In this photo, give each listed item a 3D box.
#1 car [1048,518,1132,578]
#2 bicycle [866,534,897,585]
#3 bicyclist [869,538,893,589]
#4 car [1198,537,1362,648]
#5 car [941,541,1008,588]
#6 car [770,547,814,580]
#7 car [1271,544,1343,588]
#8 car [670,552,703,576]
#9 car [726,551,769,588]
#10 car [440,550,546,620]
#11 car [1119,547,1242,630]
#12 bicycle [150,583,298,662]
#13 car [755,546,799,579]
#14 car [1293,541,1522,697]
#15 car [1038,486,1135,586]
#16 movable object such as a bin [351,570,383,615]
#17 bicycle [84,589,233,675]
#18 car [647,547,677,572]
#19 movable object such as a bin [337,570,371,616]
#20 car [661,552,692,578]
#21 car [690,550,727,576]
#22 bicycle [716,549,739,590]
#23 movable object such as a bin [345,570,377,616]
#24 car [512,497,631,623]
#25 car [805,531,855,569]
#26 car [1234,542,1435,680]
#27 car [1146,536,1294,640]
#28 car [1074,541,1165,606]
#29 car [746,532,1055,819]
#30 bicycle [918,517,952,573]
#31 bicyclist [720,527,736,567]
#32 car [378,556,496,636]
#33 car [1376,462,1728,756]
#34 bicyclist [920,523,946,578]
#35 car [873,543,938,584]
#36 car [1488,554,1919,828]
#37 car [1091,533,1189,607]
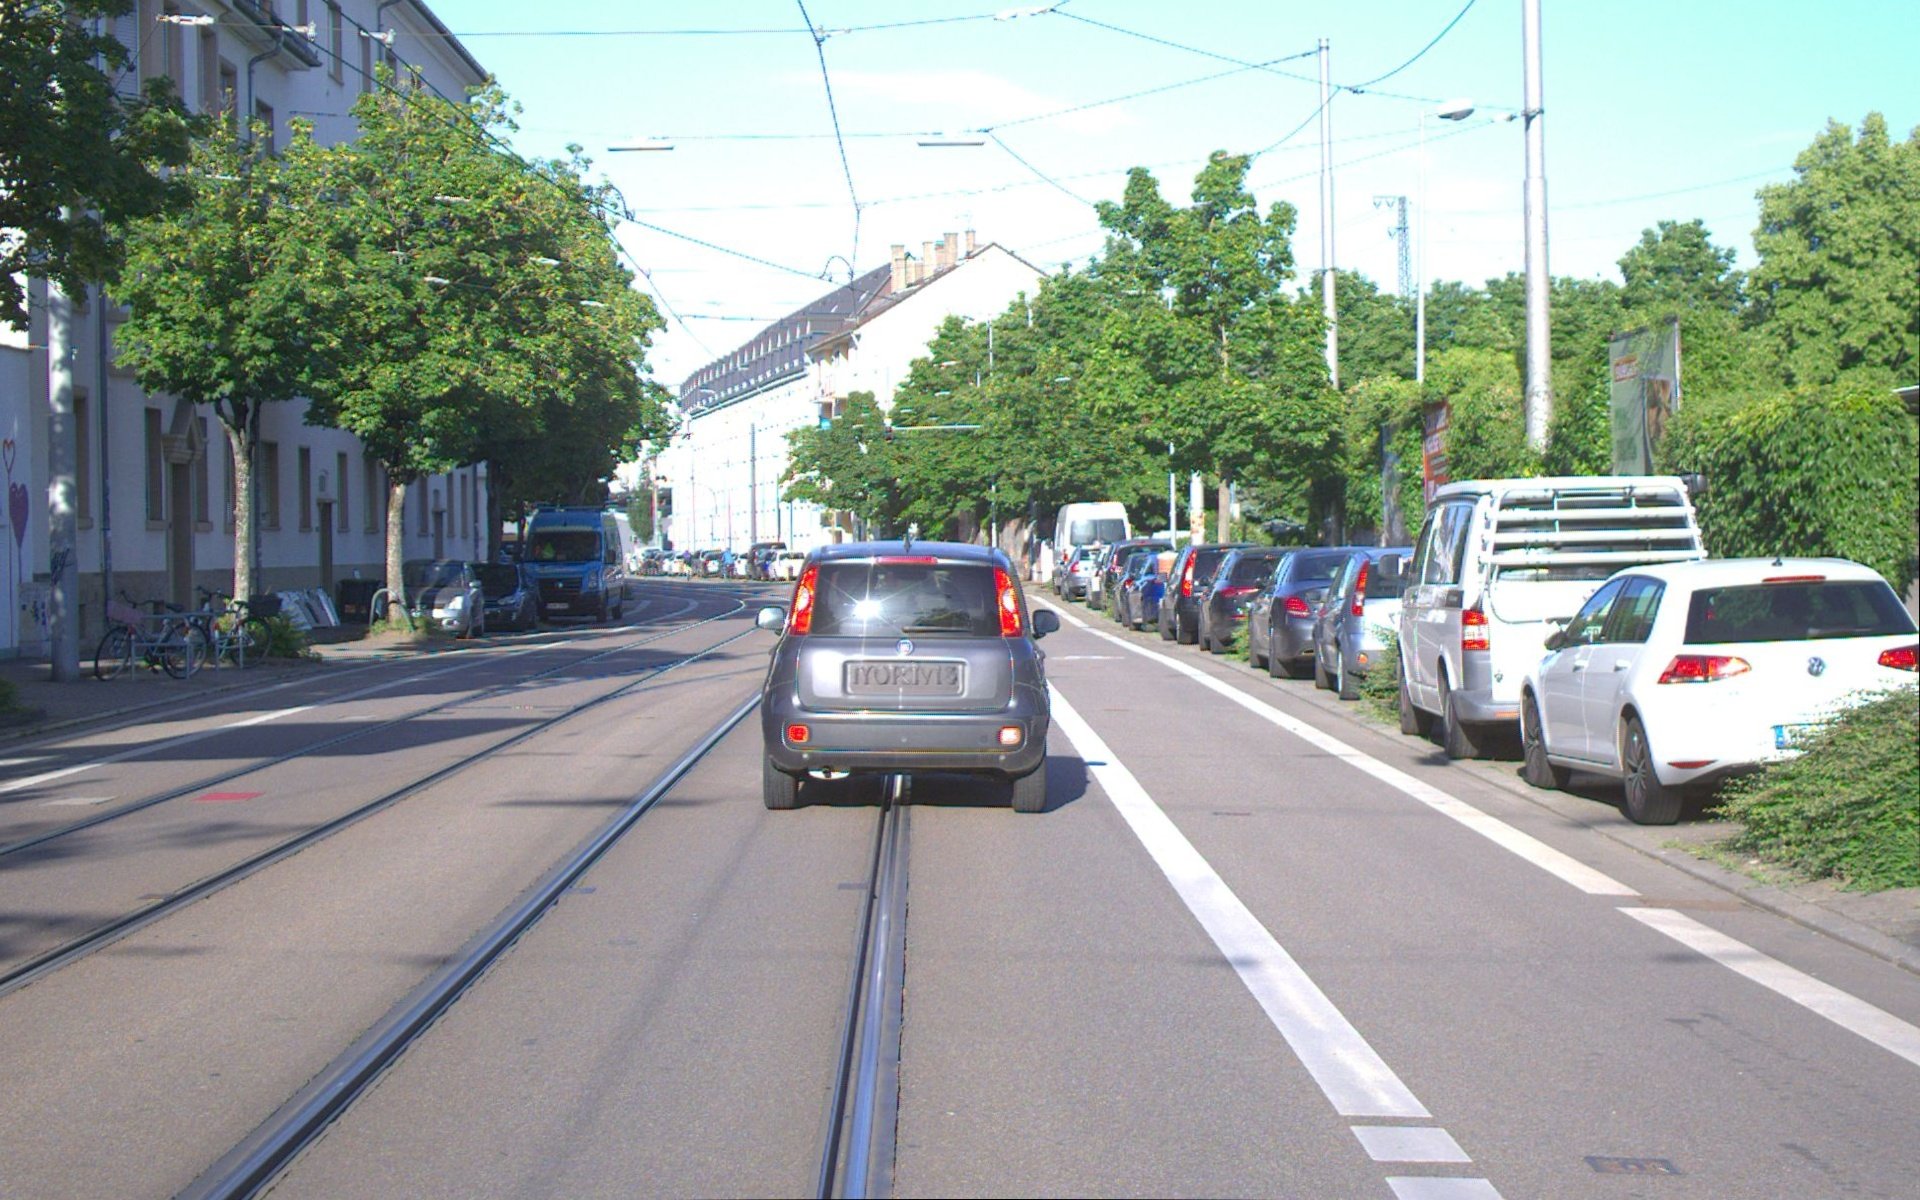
[{"bbox_3d":[3.415,-1.367,90.999,1.910,1.524,4.601,-1,1,-1],"label":"car"},{"bbox_3d":[-2.703,-1.399,118.343,0.675,1.741,2.158,0,1,-11],"label":"bicycle"},{"bbox_3d":[-2.732,-1.258,118.385,0.699,1.753,0.758,0,0,-11],"label":"bicyclist"},{"bbox_3d":[4.402,-0.129,47.878,1.824,1.447,4.642,-1,1,0],"label":"car"},{"bbox_3d":[0.474,-1.212,116.898,1.688,1.525,4.001,-2,1,-7],"label":"car"},{"bbox_3d":[-8.151,-1.789,166.654,1.655,1.566,3.500,0,1,-11],"label":"car"},{"bbox_3d":[8.175,-0.803,81.198,1.309,1.030,3.057,0,1,-2],"label":"car"},{"bbox_3d":[-16.570,-2.172,208.255,1.582,1.400,3.377,0,1,-11],"label":"car"},{"bbox_3d":[-11.234,-1.631,181.443,1.655,1.937,4.666,0,1,-11],"label":"car"},{"bbox_3d":[-9.790,-0.325,72.298,1.651,1.420,4.190,0,1,0],"label":"car"},{"bbox_3d":[3.991,-0.230,62.886,1.727,1.459,4.342,0,1,-3],"label":"car"},{"bbox_3d":[-9.871,0.292,46.150,0.532,1.036,1.982,1,1,44],"label":"bicycle"},{"bbox_3d":[-9.087,-1.863,170.842,1.655,1.566,3.877,0,1,-11],"label":"car"},{"bbox_3d":[4.454,0.157,34.743,1.873,1.467,4.075,0,1,1],"label":"car"},{"bbox_3d":[3.560,-1.805,97.824,2.180,2.656,6.091,-3,1,-2],"label":"car"},{"bbox_3d":[-12.596,-0.163,73.071,0.596,0.931,0.569,-1,1,-3],"label":"movable object such as a bin"},{"bbox_3d":[-9.900,0.386,42.504,0.668,1.036,1.783,1,1,37],"label":"bicycle"},{"bbox_3d":[-19.207,-2.628,221.359,1.582,1.593,3.377,0,1,-11],"label":"car"},{"bbox_3d":[-12.562,-0.144,71.275,0.596,0.931,0.569,-1,1,-3],"label":"movable object such as a bin"},{"bbox_3d":[-17.709,-2.182,214.600,1.582,1.593,3.377,0,1,-11],"label":"car"},{"bbox_3d":[-14.309,-2.111,195.714,1.582,1.400,3.377,-4,1,-11],"label":"car"},{"bbox_3d":[-11.544,-1.528,170.655,0.741,2.007,2.812,0,1,-11],"label":"bicycle"},{"bbox_3d":[-12.521,-0.150,71.870,0.596,0.931,0.569,-1,1,-3],"label":"movable object such as a bin"},{"bbox_3d":[-9.002,-0.932,80.146,2.017,2.816,6.032,0,1,1],"label":"car"},{"bbox_3d":[-5.623,-2.154,148.330,1.635,1.503,3.398,-3,1,-10],"label":"car"},{"bbox_3d":[4.232,0.095,39.486,1.824,1.479,4.601,0,1,0],"label":"car"},{"bbox_3d":[4.037,-0.202,53.934,1.824,1.487,3.815,-3,1,-2],"label":"car"},{"bbox_3d":[3.781,-0.633,81.953,1.727,1.507,4.252,0,1,-3],"label":"car"},{"bbox_3d":[-0.350,0.380,20.770,1.650,1.536,4.235,1,1,-1],"label":"car"},{"bbox_3d":[-0.801,-1.753,109.948,0.675,1.741,2.158,0,1,-11],"label":"bicycle"},{"bbox_3d":[-11.521,-2.624,170.637,0.715,2.007,0.832,0,0,-11],"label":"bicyclist"},{"bbox_3d":[-10.009,-0.092,65.980,1.651,1.486,4.000,0,1,0],"label":"car"},{"bbox_3d":[4.368,0.031,26.153,1.854,1.984,5.242,-1,1,1],"label":"car"},{"bbox_3d":[-0.864,-1.594,110.068,0.699,1.753,0.758,0,0,-11],"label":"bicyclist"},{"bbox_3d":[-2.133,-1.409,133.345,1.688,1.525,4.001,-2,1,-13],"label":"car"},{"bbox_3d":[4.473,0.463,20.711,1.675,1.413,4.503,-2,1,-2],"label":"car"},{"bbox_3d":[4.013,-0.668,77.168,1.727,1.599,4.343,0,1,-3],"label":"car"}]
